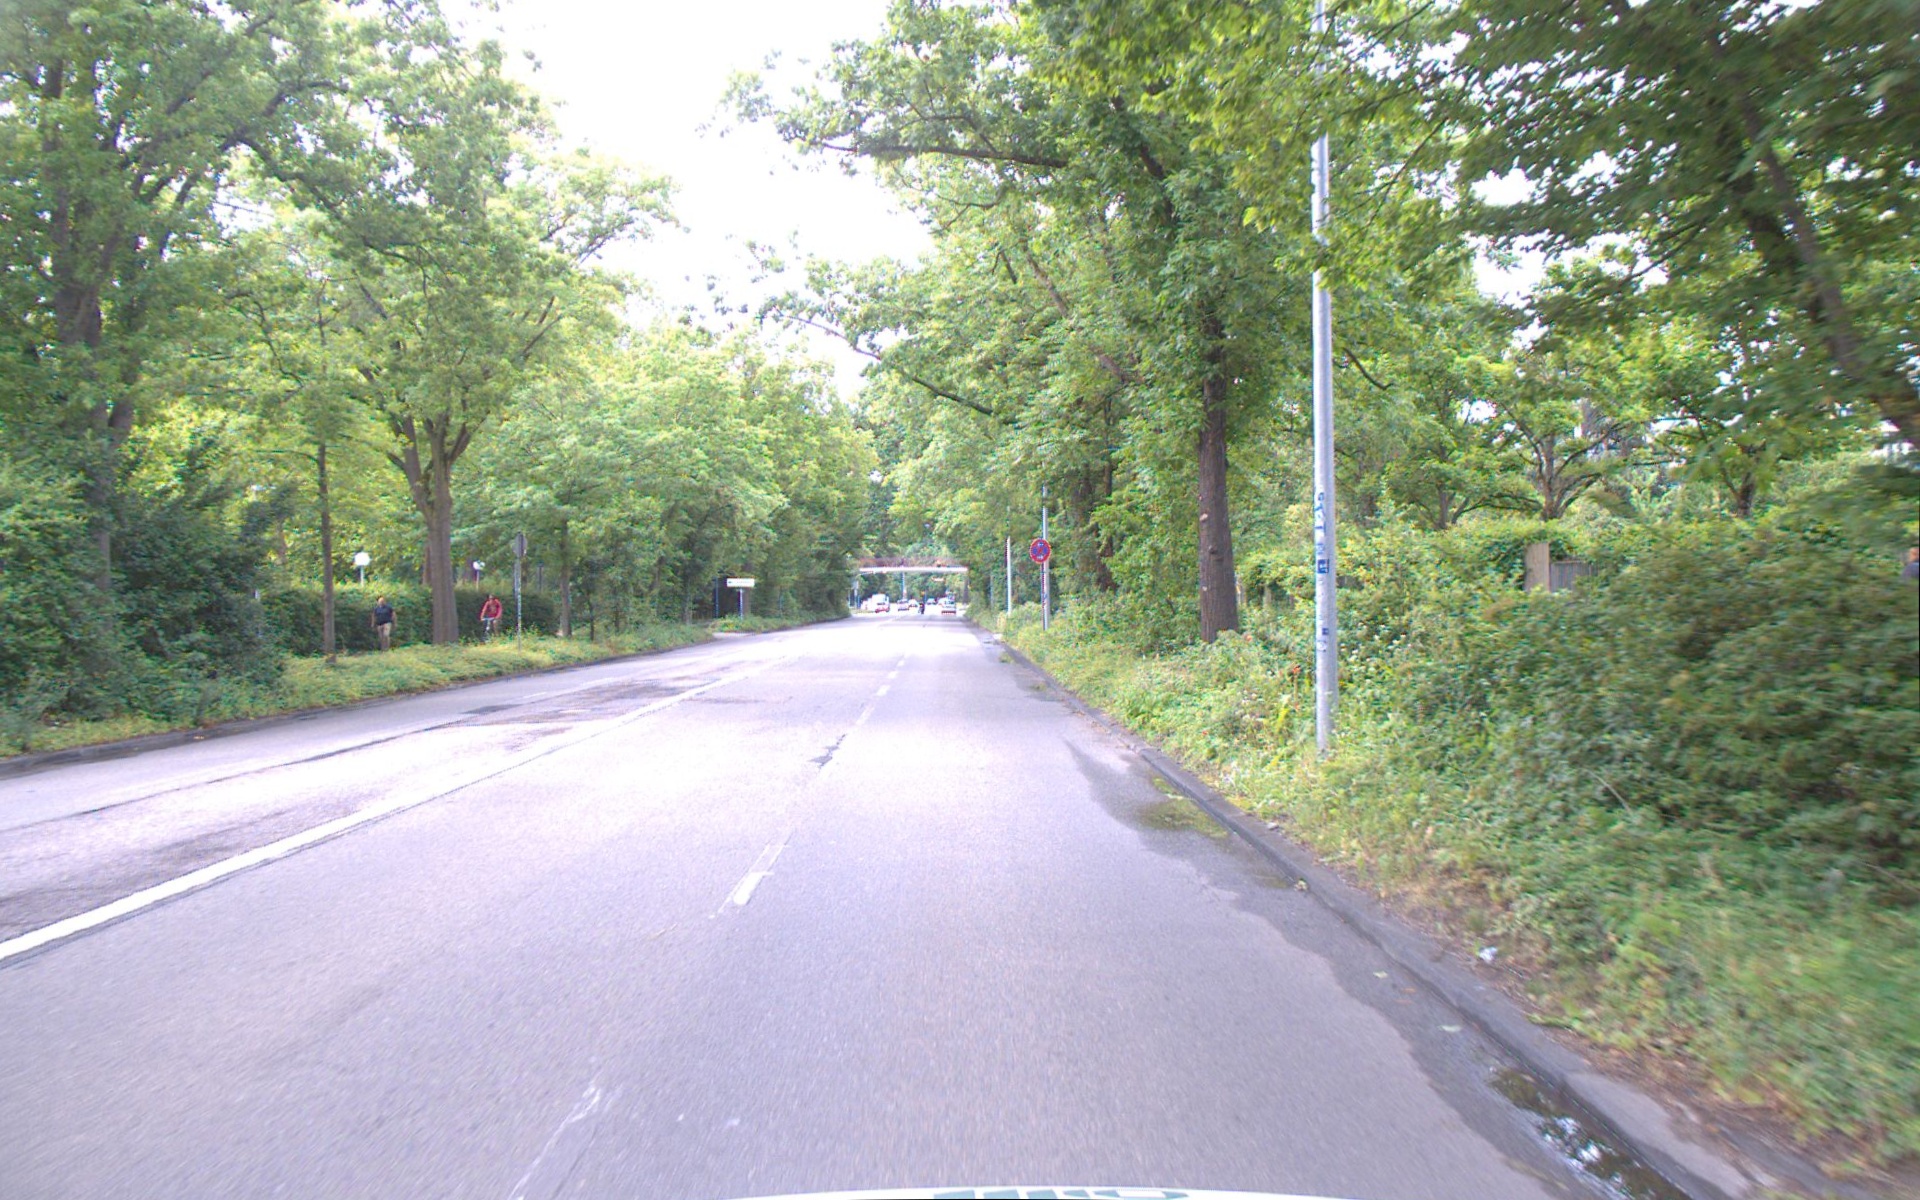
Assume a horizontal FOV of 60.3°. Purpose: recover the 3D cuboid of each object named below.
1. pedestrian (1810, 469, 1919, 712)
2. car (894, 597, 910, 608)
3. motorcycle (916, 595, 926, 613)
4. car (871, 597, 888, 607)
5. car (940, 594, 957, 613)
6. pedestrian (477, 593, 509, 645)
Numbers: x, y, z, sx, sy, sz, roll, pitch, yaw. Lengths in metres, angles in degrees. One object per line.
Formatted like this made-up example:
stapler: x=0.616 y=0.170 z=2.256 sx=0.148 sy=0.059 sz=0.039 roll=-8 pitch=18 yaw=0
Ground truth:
pedestrian: x=8.257 y=-0.093 z=14.576 sx=0.907 sy=2.049 sz=1.038 roll=-2 pitch=0 yaw=-5
car: x=-7.893 y=0.314 z=224.162 sx=1.644 sy=1.386 sz=3.911 roll=0 pitch=0 yaw=-10
motorcycle: x=-4.251 y=0.406 z=180.929 sx=0.970 sy=1.970 sz=2.668 roll=0 pitch=0 yaw=-1
car: x=-10.934 y=0.299 z=223.864 sx=1.952 sy=1.377 sz=3.896 roll=0 pitch=0 yaw=2
car: x=-1.267 y=0.343 z=177.156 sx=1.806 sy=2.049 sz=3.999 roll=0 pitch=0 yaw=-1
pedestrian: x=-14.852 y=0.604 z=52.665 sx=0.775 sy=1.641 sz=0.848 roll=0 pitch=0 yaw=-1
